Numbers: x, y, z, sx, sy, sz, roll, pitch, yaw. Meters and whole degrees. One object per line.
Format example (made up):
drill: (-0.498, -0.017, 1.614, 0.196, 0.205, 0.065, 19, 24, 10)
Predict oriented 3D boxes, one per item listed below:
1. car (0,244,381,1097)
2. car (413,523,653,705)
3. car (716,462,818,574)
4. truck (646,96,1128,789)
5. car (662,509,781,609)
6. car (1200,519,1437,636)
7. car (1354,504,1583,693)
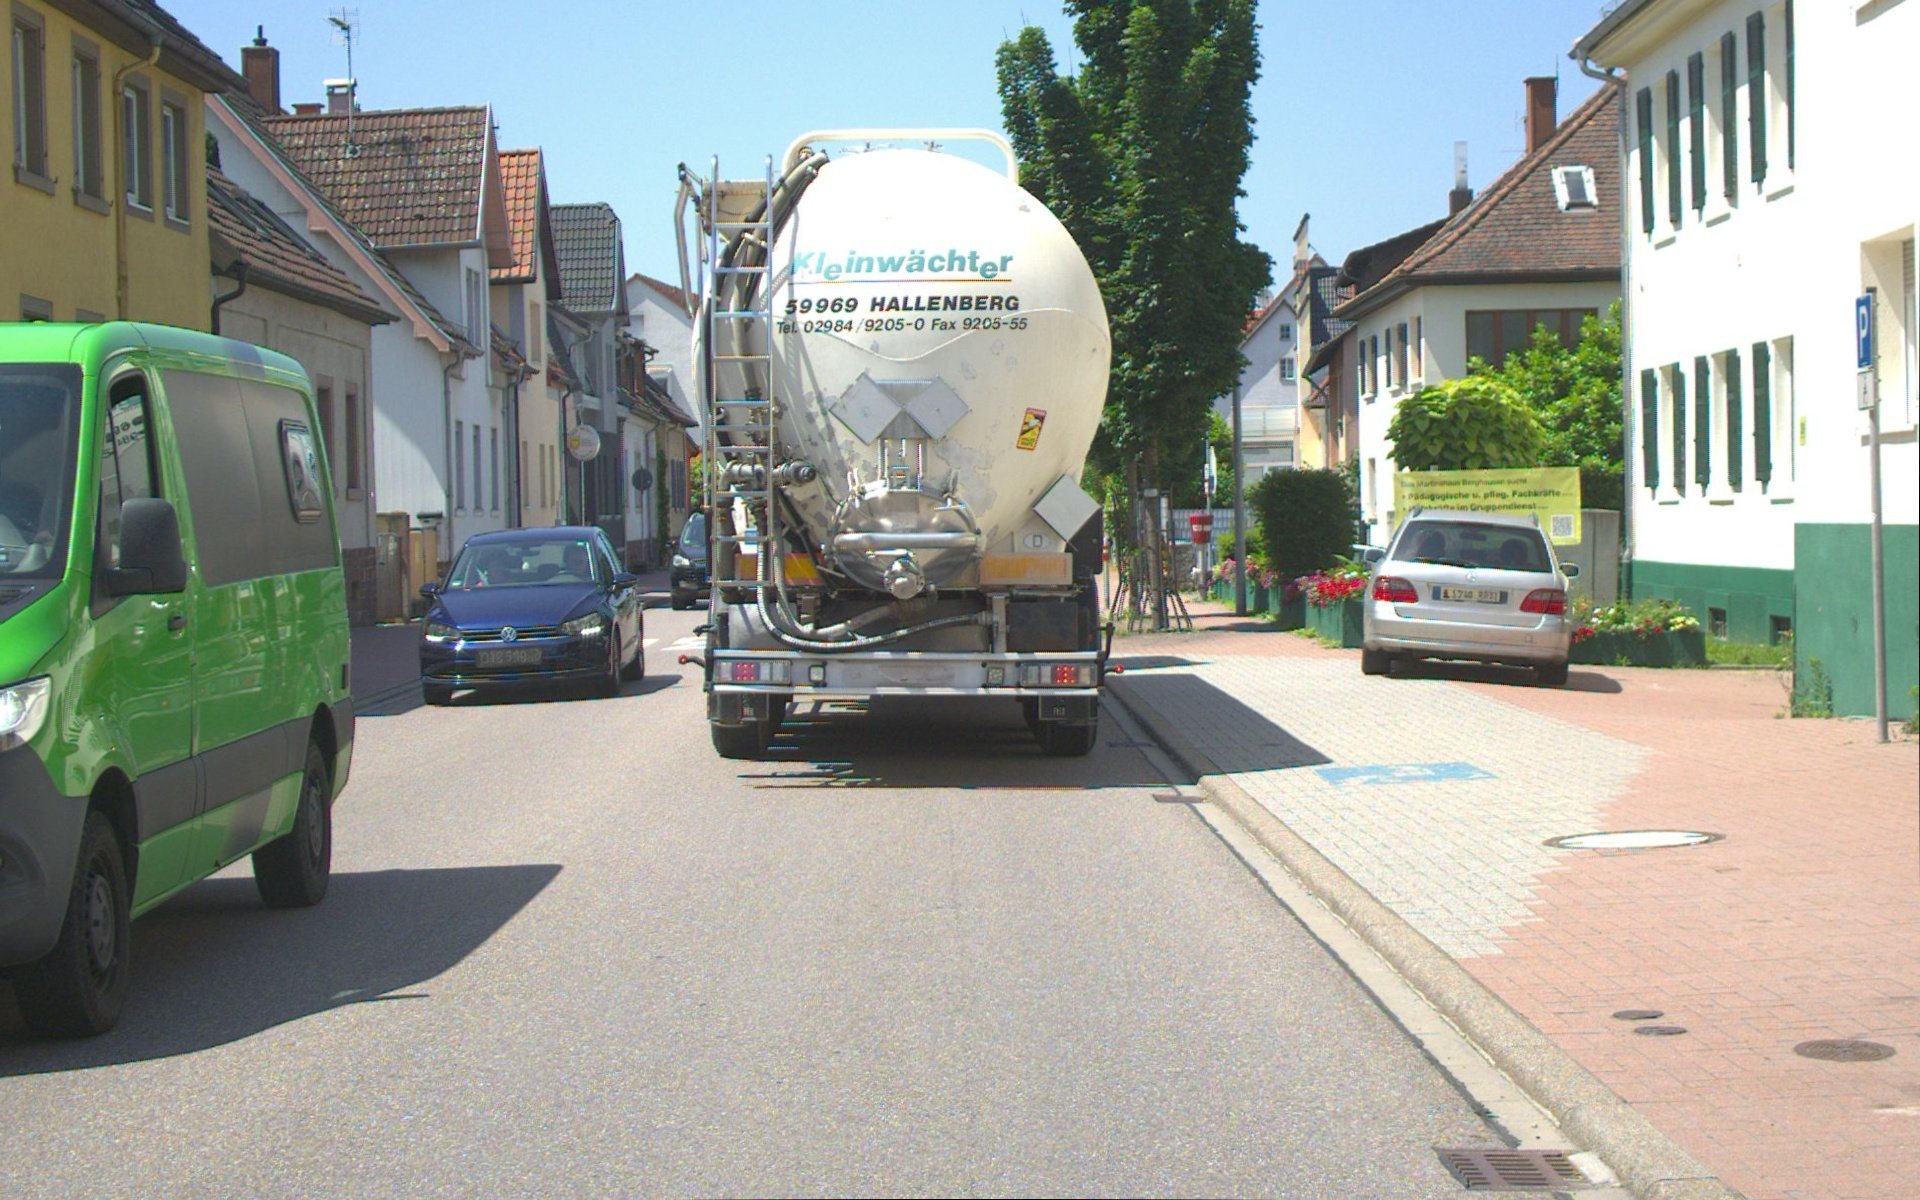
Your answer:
car: (-3.655, 0.152, 12.473, 2.051, 2.345, 6.082, -2, 1, 0)
car: (-3.945, 0.082, 32.346, 1.765, 1.531, 4.079, -2, 1, -1)
car: (-4.474, -1.914, 80.451, 2.069, 2.446, 6.008, -2, 1, -1)
truck: (-0.538, -0.956, 23.789, 2.732, 3.946, 8.142, 0, 1, -2)
car: (-4.231, -0.766, 61.506, 1.839, 1.664, 4.324, -2, 1, -1)
car: (6.845, -0.437, 65.941, 4.170, 1.581, 1.907, 9, 1, 0)
car: (4.614, -0.083, 31.313, 1.815, 1.457, 4.883, 4, 2, 8)
